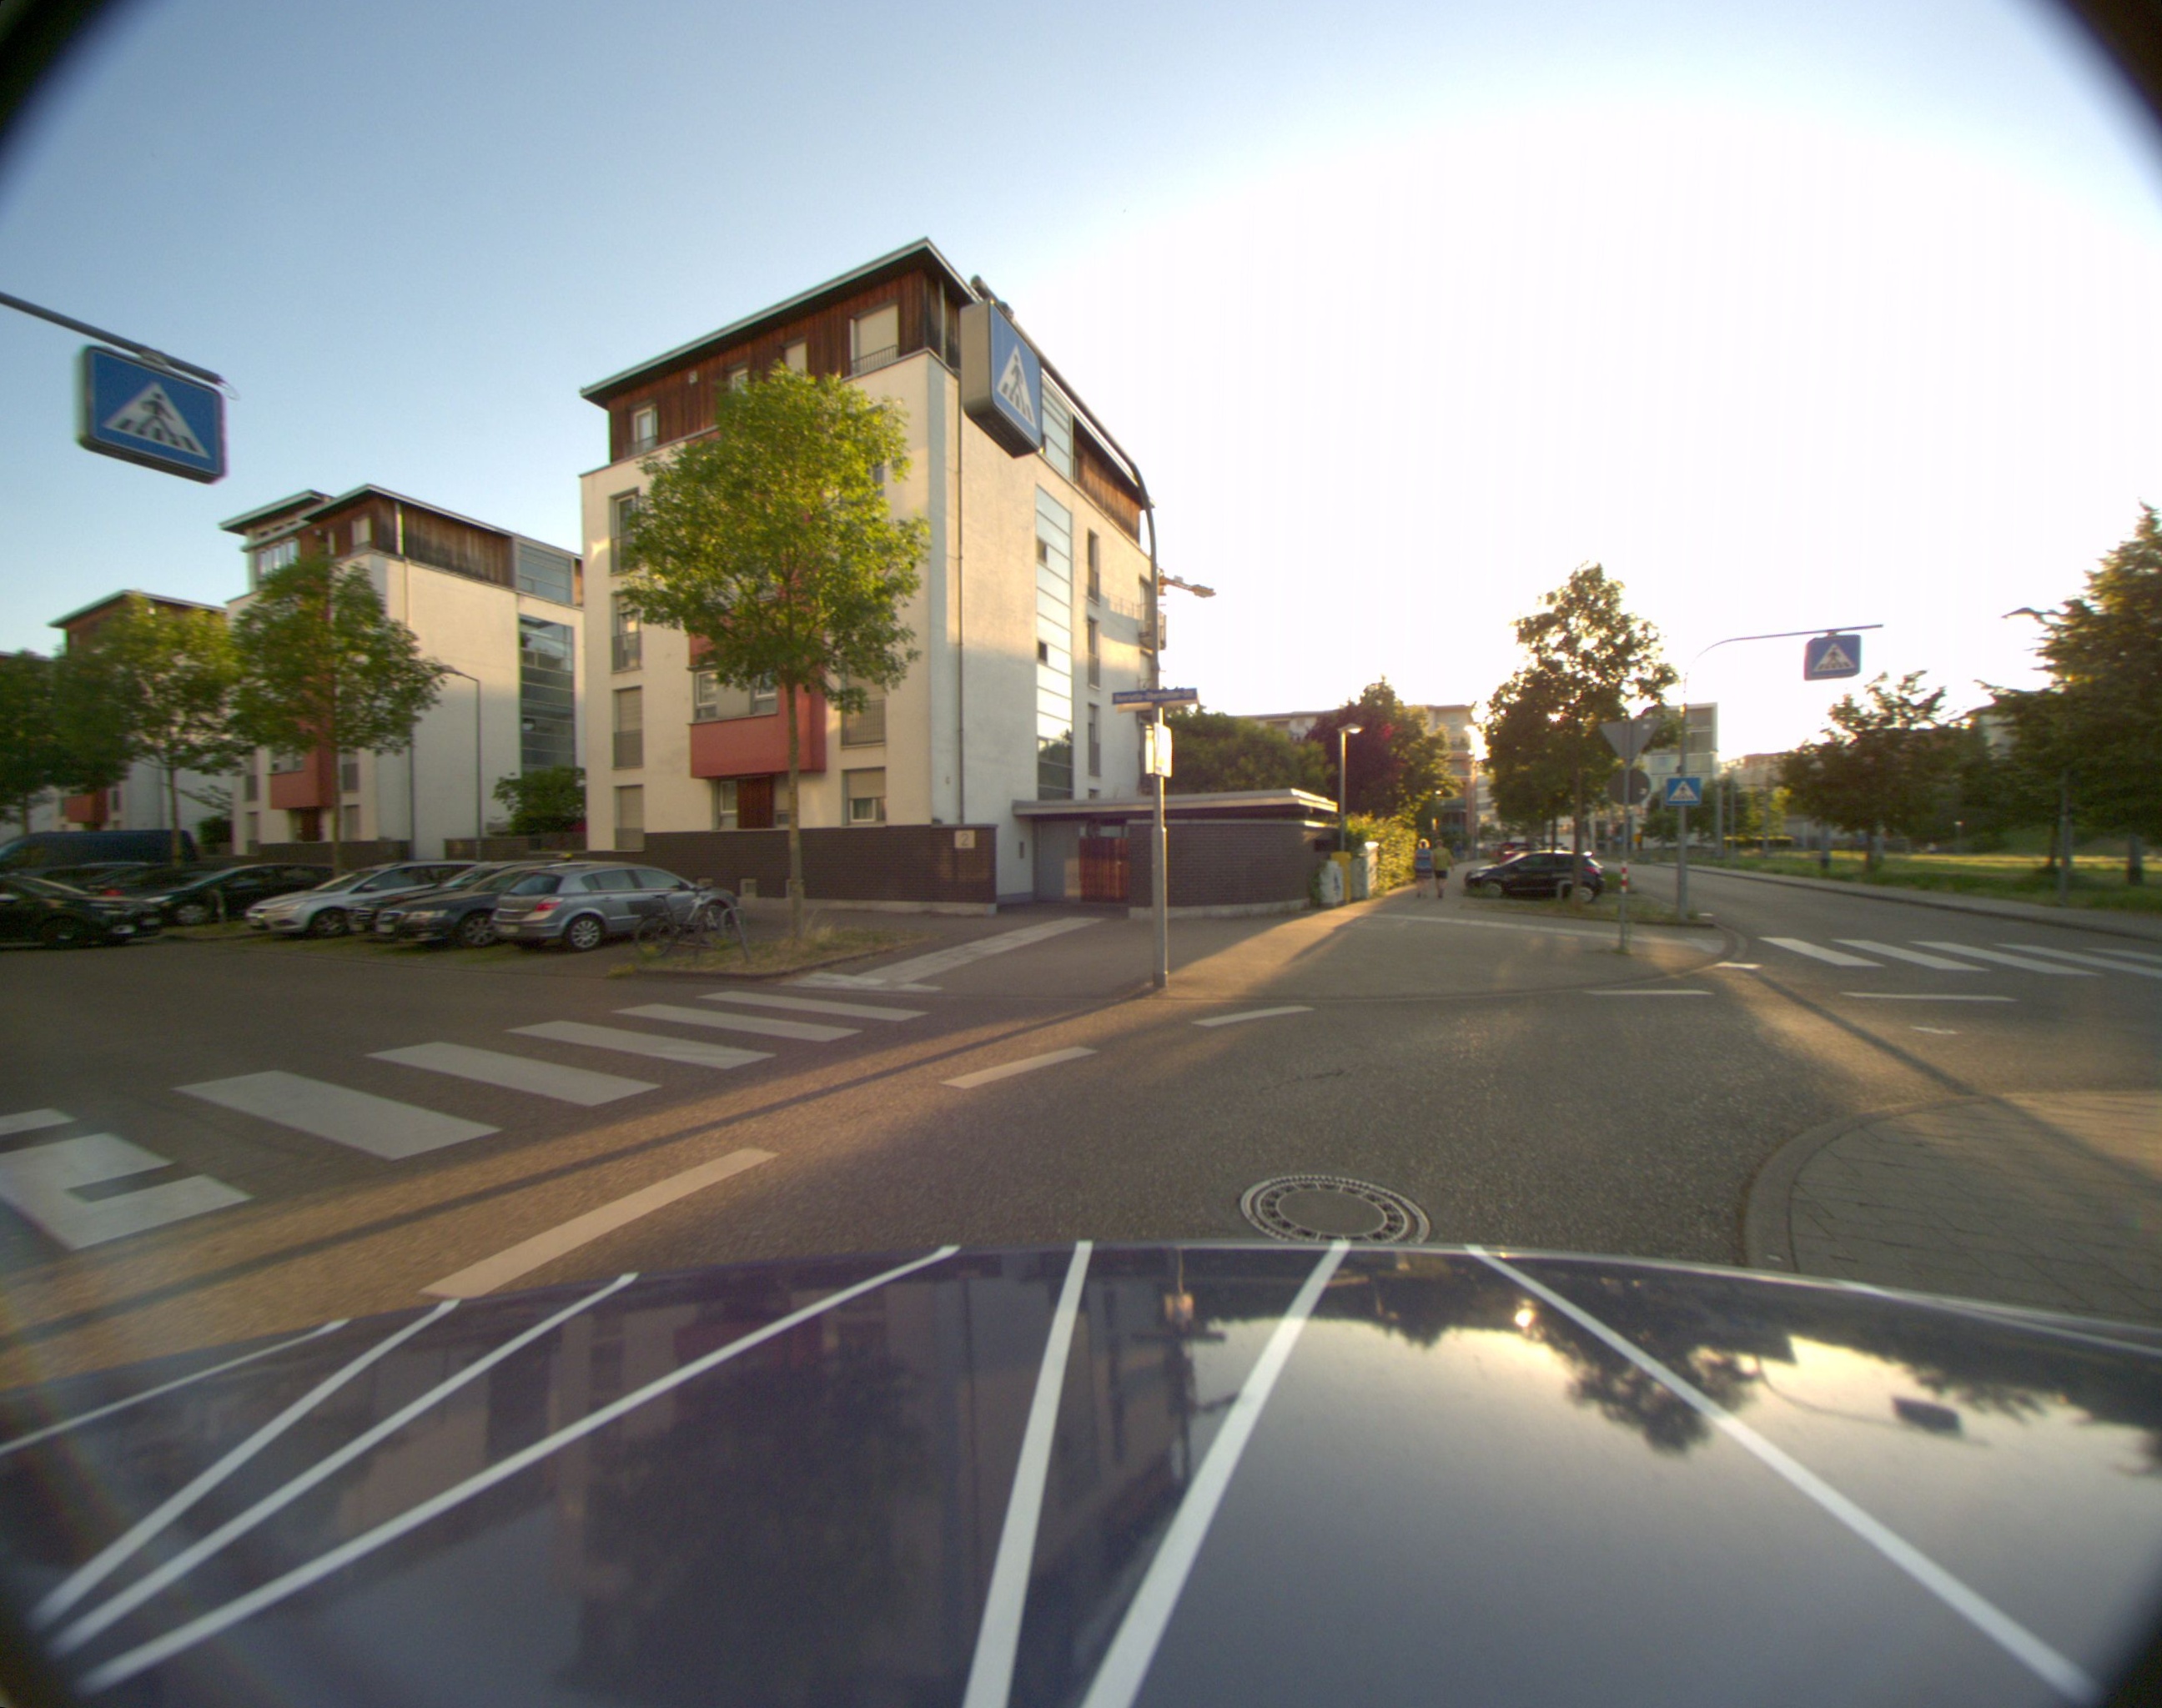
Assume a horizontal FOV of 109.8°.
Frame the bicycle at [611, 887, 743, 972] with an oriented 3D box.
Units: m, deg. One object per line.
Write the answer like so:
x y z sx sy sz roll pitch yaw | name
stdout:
-6.375 1.154 12.103 0.566 1.061 1.824 -1 4 24 | bicycle

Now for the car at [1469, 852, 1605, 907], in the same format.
13.674 0.705 22.978 3.401 1.513 1.694 0 1 28 | car

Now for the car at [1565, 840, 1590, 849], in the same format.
95.161 -1.898 145.707 3.870 1.604 1.706 -1 1 26 | car

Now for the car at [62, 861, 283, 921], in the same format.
-28.686 1.095 24.187 1.720 1.616 4.110 -1 1 22 | car

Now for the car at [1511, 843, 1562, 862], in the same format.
42.488 -0.167 70.914 3.870 1.685 1.705 -1 1 23 | car

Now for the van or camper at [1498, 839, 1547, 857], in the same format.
42.903 -0.602 73.919 3.870 1.685 1.837 -1 1 24 | van or camper

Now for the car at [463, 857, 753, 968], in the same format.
-8.513 0.944 14.189 1.676 1.450 4.299 -1 3 24 | car

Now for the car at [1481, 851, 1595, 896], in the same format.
16.224 0.665 27.142 3.401 1.492 1.597 0 1 28 | car

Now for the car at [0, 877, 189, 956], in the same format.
-20.544 1.166 14.502 4.185 1.453 1.774 1 -2 -29 | car

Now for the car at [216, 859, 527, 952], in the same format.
-15.691 1.021 17.215 1.754 1.576 4.768 -1 2 22 | car

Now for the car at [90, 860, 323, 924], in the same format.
-24.520 0.996 21.516 1.720 1.507 3.926 -1 1 22 | car

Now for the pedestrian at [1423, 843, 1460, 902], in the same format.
10.351 0.518 21.839 0.624 1.658 0.742 -1 3 -12 | pedestrian

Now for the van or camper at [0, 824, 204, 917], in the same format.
-36.208 0.516 26.816 2.437 3.069 6.326 0 1 22 | van or camper

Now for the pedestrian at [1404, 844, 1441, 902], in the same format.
9.732 0.532 21.678 0.657 1.591 0.712 -1 3 -12 | pedestrian

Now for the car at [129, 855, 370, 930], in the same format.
-22.017 0.936 20.333 1.720 1.700 3.926 0 1 22 | car

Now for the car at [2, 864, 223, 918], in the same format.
-31.512 1.191 24.900 1.720 1.615 4.112 -1 -2 22 | car

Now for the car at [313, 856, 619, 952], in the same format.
-13.008 0.943 16.497 1.706 1.546 4.796 0 2 30 | car

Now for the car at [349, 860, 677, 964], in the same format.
-10.861 0.992 15.087 1.706 1.470 4.925 -1 2 24 | car

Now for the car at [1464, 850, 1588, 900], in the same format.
14.453 0.646 24.859 3.401 1.492 1.597 0 1 28 | car
